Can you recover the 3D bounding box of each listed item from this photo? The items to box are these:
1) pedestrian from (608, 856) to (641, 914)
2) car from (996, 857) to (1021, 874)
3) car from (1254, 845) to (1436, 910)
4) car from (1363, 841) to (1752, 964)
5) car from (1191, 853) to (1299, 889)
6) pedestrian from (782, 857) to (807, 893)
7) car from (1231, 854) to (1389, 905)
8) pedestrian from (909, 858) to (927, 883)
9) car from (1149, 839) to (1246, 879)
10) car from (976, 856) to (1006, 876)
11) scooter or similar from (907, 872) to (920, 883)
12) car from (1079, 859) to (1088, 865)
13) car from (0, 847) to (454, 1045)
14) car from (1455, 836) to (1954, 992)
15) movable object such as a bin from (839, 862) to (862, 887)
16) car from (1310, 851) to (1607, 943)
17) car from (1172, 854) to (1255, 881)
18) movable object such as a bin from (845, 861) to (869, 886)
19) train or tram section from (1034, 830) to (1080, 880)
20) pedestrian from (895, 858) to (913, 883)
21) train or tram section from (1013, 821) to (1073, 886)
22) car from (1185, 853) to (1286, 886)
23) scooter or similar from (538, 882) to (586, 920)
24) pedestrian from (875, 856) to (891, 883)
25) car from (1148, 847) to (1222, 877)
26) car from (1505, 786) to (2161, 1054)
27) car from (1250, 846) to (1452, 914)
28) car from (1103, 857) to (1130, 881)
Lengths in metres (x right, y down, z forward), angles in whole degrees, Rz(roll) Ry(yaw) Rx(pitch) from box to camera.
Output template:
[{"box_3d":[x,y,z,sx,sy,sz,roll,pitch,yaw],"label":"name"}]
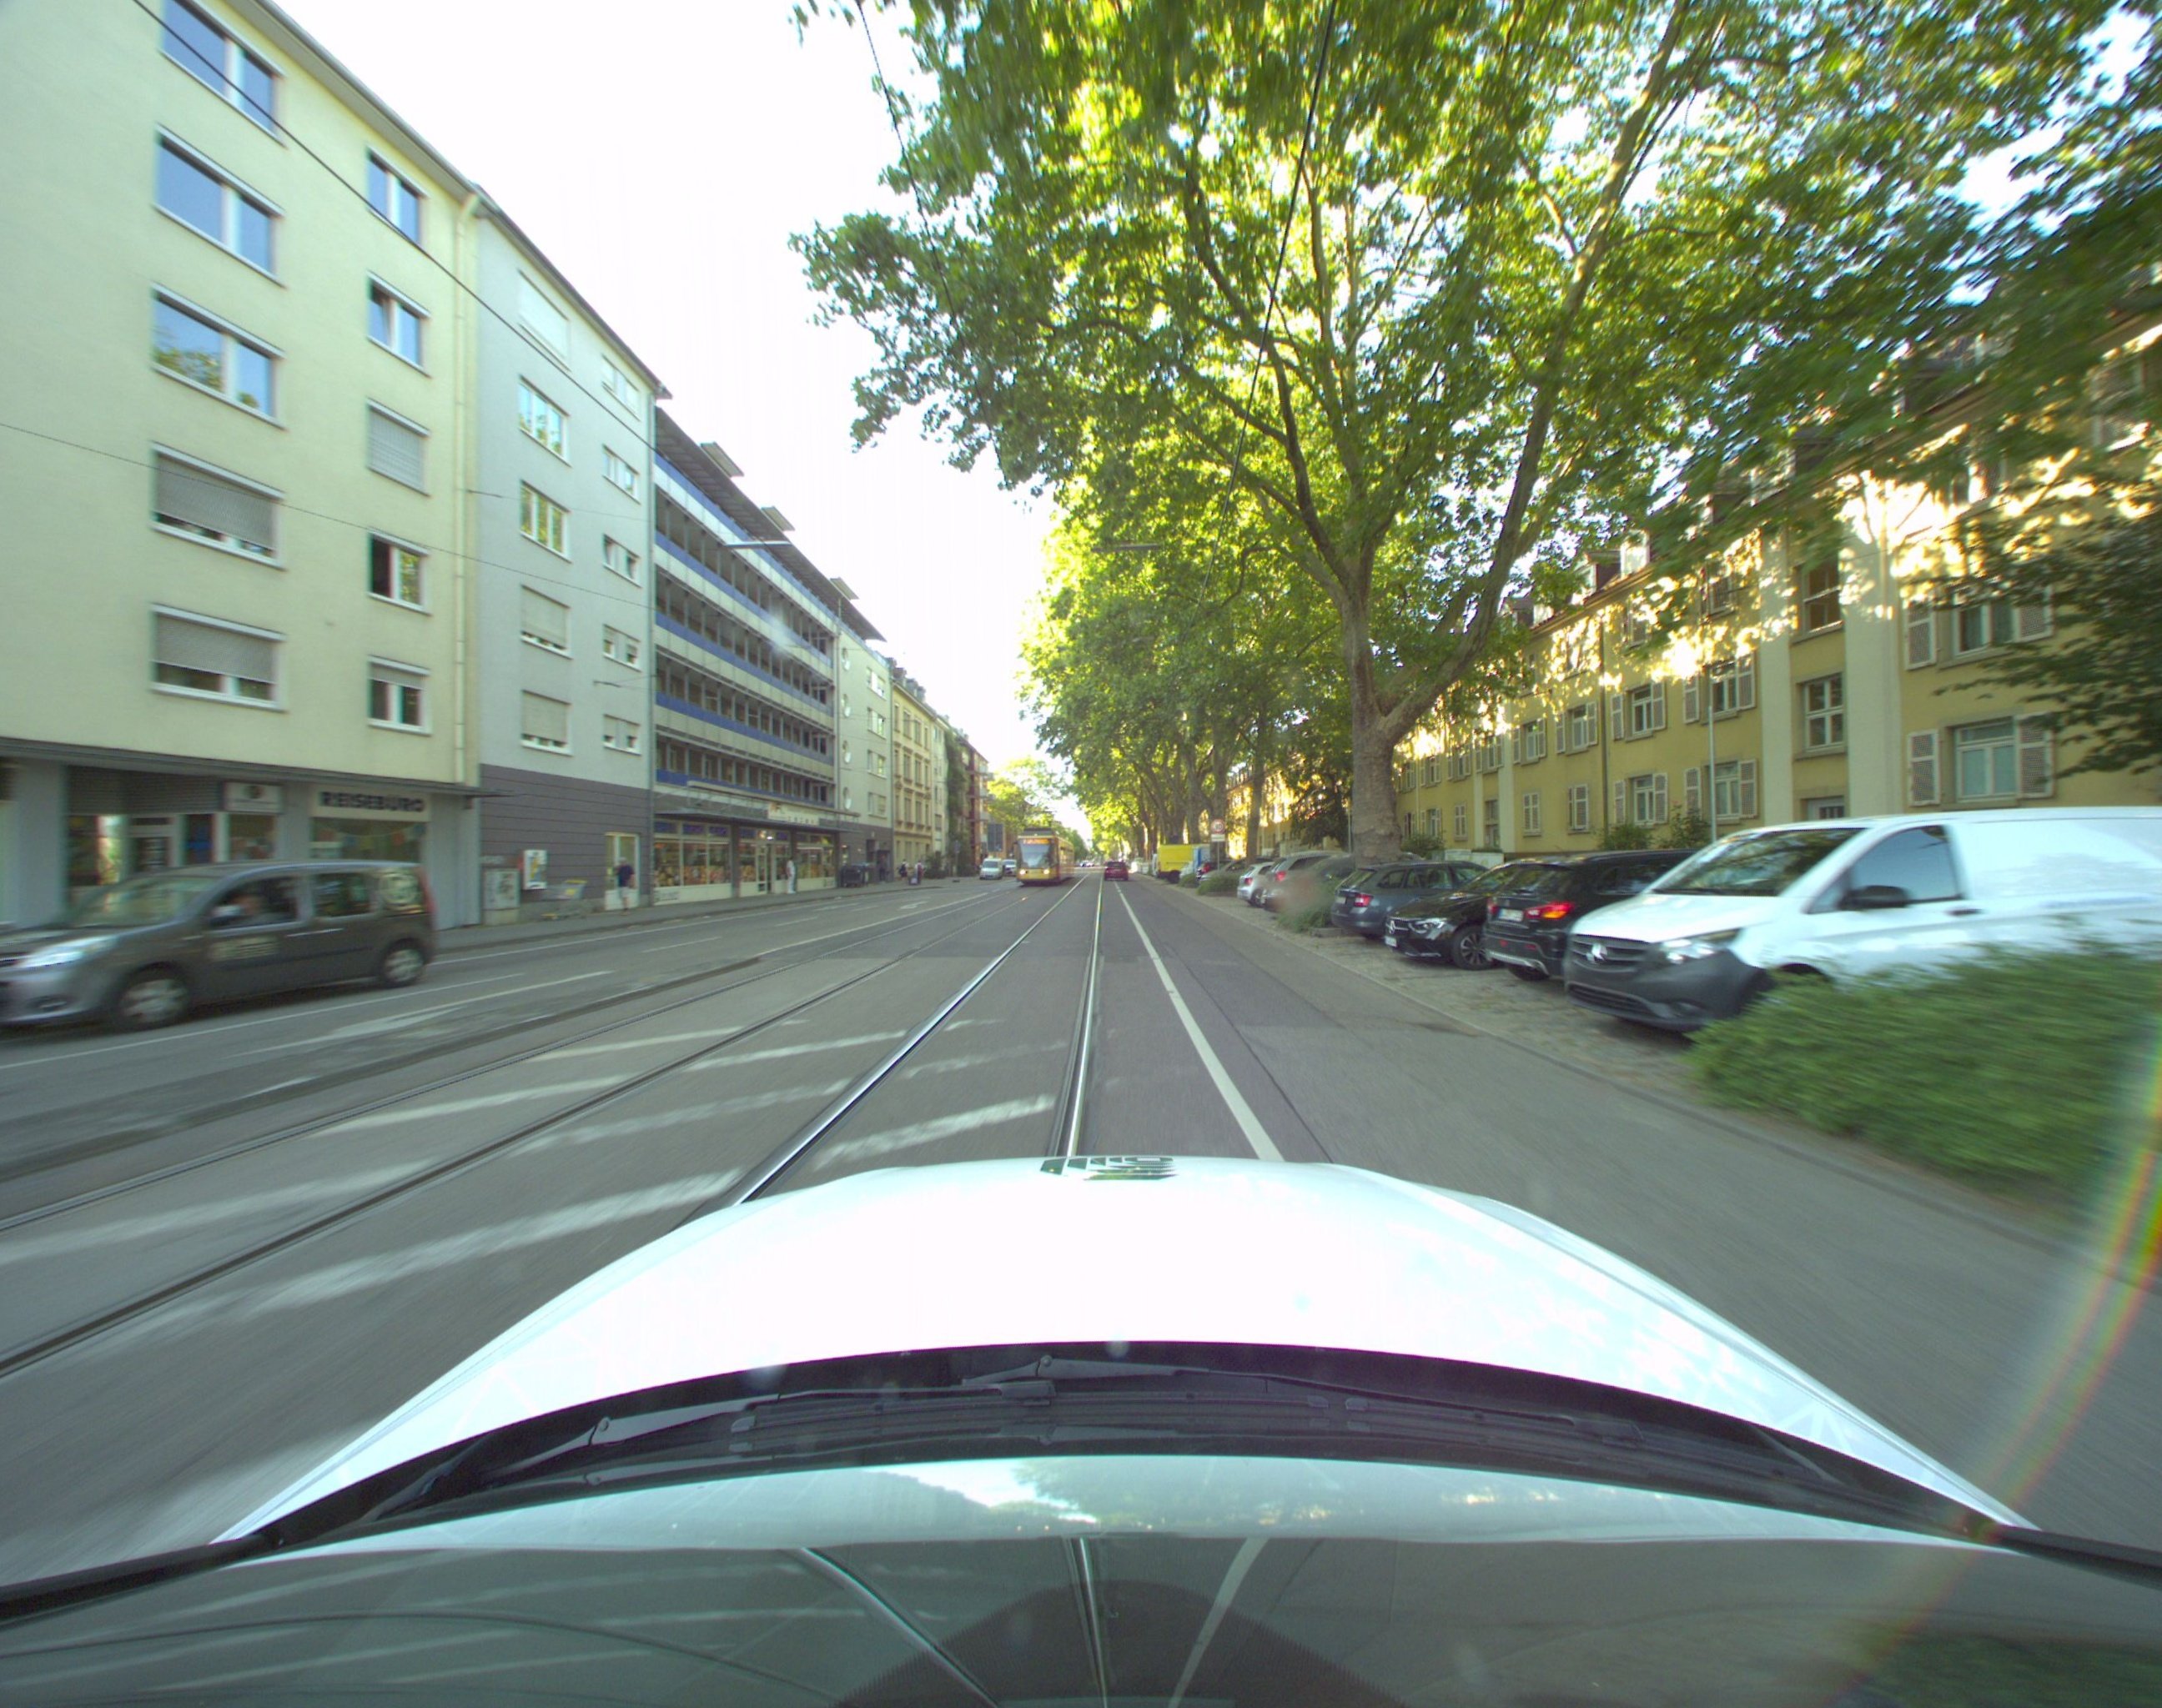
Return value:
[{"box_3d":[-13.409,0.903,23.937,0.664,1.648,0.622,-1,-1,-14],"label":"pedestrian"},{"box_3d":[-6.960,1.071,78.760,1.887,1.564,4.393,-1,0,1],"label":"car"},{"box_3d":[7.617,0.665,23.865,4.695,1.722,1.920,-1,0,1],"label":"car"},{"box_3d":[6.916,0.677,12.243,4.694,1.602,1.921,-1,0,2],"label":"car"},{"box_3d":[7.719,0.787,38.584,4.698,1.534,1.919,-1,0,-1],"label":"car"},{"box_3d":[-13.647,1.010,38.787,1.032,1.662,1.220,-1,-1,-18],"label":"pedestrian"},{"box_3d":[7.526,0.833,27.107,4.695,1.534,1.920,-1,0,1],"label":"car"},{"box_3d":[-10.620,1.068,53.136,0.888,1.624,1.035,-1,-1,2],"label":"pedestrian"},{"box_3d":[7.399,0.319,52.092,5.922,2.366,2.062,-1,0,2],"label":"car"},{"box_3d":[-7.513,1.013,68.181,1.887,1.564,4.393,-1,0,1],"label":"car"},{"box_3d":[-10.772,1.511,52.396,0.622,0.648,0.766,-1,0,2],"label":"scooter or similar"},{"box_3d":[0.688,1.969,205.866,1.989,1.509,3.996,-1,0,-3],"label":"car"},{"box_3d":[-10.231,0.864,9.695,1.900,1.806,4.367,-1,0,5],"label":"car"},{"box_3d":[7.093,0.652,9.690,4.389,1.602,1.944,-1,0,2],"label":"car"},{"box_3d":[-13.224,1.160,46.764,1.010,1.428,1.143,-1,-1,-3],"label":"movable object such as a bin"},{"box_3d":[6.781,0.743,14.985,4.571,1.506,1.919,-1,0,-1],"label":"car"},{"box_3d":[7.997,0.801,49.515,4.697,1.534,1.919,-1,0,-1],"label":"car"},{"box_3d":[-13.228,1.142,48.202,1.009,1.428,1.257,-1,-1,2],"label":"movable object such as a bin"},{"box_3d":[-1.786,0.109,66.224,2.821,3.638,12.823,-1,0,2],"label":"train or tram section"},{"box_3d":[-11.476,1.062,52.737,0.888,1.624,1.035,-1,-1,2],"label":"pedestrian"},{"box_3d":[-2.243,0.014,53.235,2.850,3.638,13.202,-1,0,1],"label":"train or tram section"},{"box_3d":[7.767,0.794,41.244,4.699,1.534,1.918,-1,0,-2],"label":"car"},{"box_3d":[-14.015,1.255,22.030,0.465,0.954,1.429,-1,0,-5],"label":"scooter or similar"},{"box_3d":[-13.653,1.066,56.241,0.897,1.864,0.782,-1,-1,-26],"label":"pedestrian"},{"box_3d":[7.855,0.603,61.745,5.421,2.192,2.062,-1,0,2],"label":"car"},{"box_3d":[6.801,0.489,7.037,5.202,1.826,1.930,-3,-2,0],"label":"car"},{"box_3d":[6.971,0.671,21.434,4.694,1.602,1.921,-1,0,2],"label":"car"},{"box_3d":[2.638,1.122,60.230,1.886,1.564,4.394,-3,-1,2],"label":"car"}]
